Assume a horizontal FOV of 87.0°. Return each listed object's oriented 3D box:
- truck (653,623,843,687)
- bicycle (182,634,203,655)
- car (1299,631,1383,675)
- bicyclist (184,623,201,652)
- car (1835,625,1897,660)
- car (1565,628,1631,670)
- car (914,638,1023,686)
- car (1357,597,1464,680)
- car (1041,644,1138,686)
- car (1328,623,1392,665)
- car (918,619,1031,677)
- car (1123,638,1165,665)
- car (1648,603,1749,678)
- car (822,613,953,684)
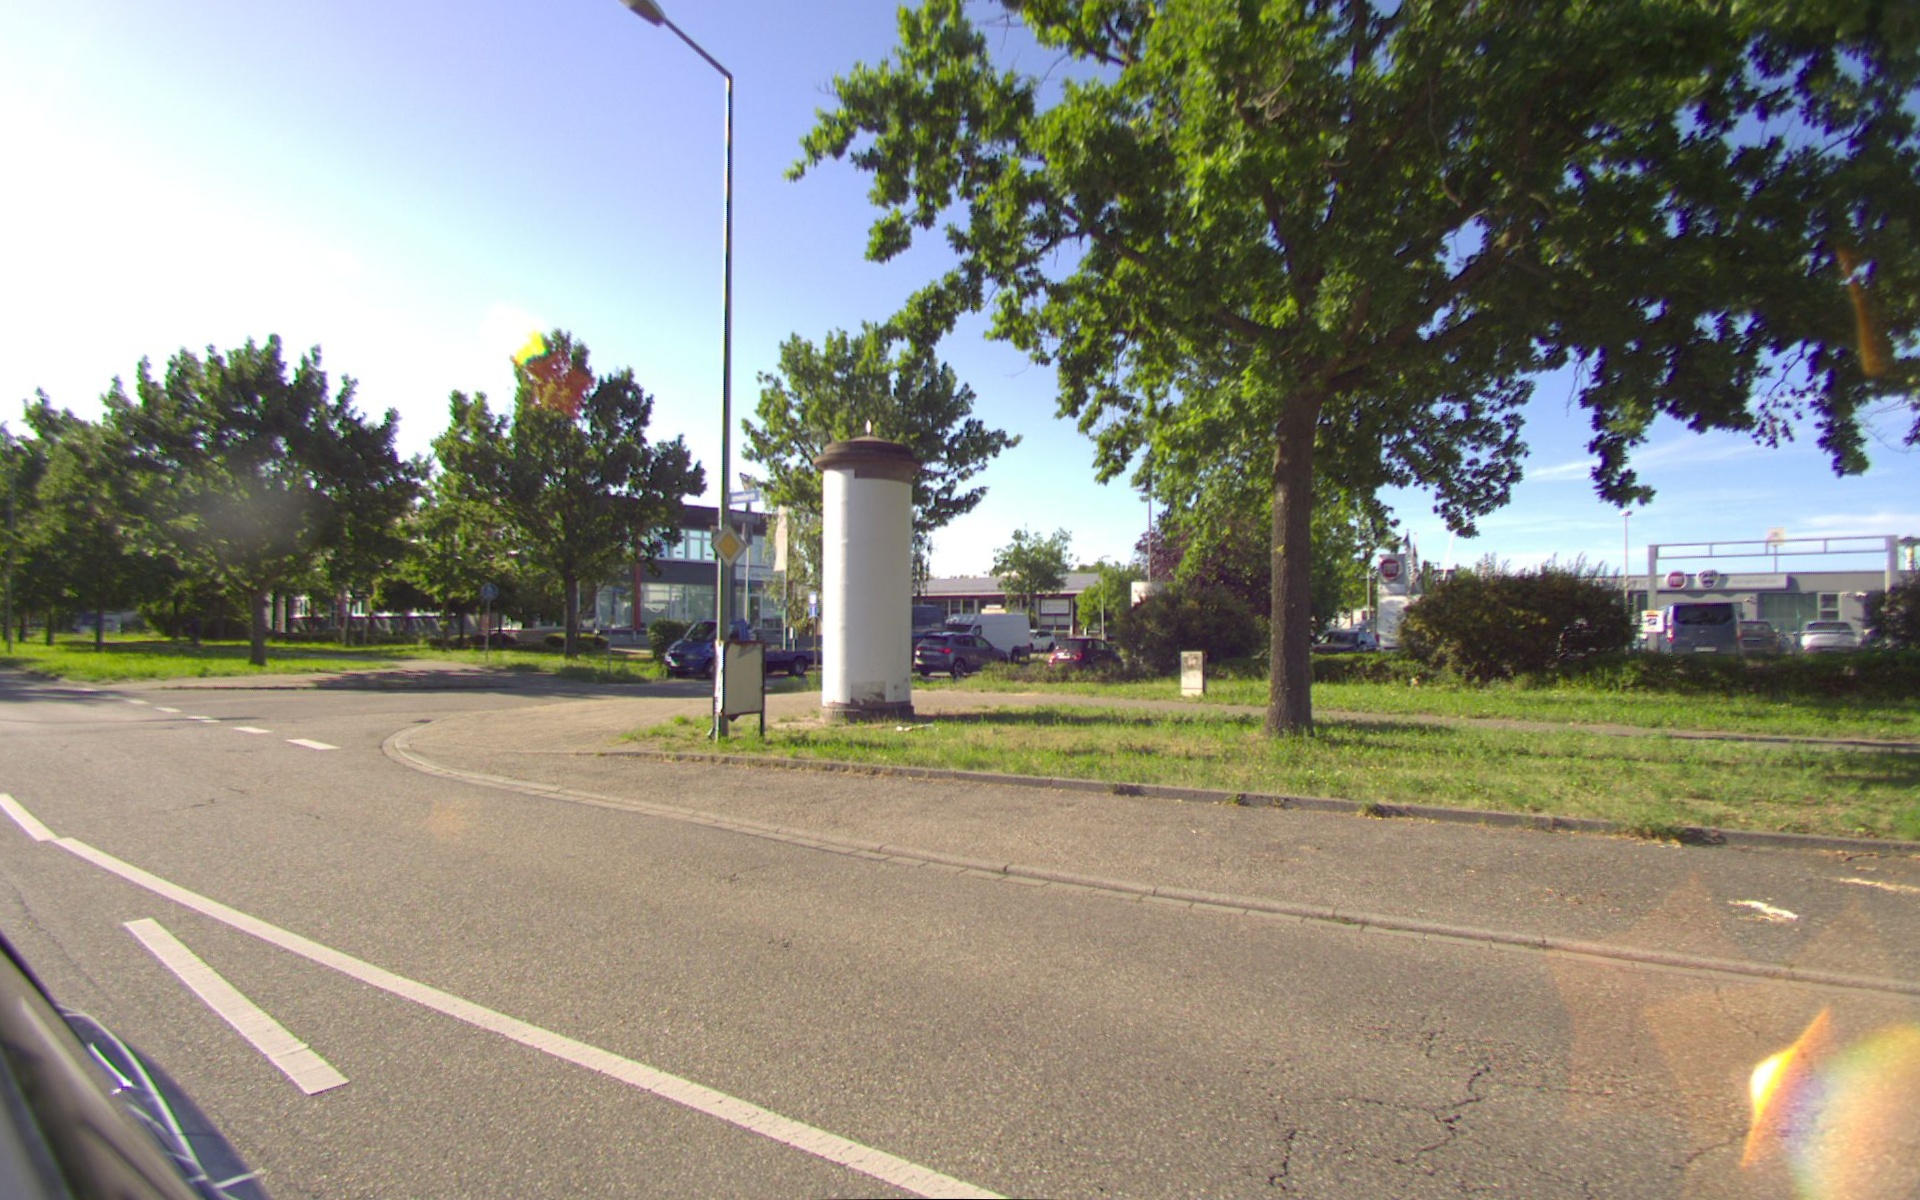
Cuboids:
[{"bbox_3d":[-7.503,1.953,36.819,2.138,2.065,7.043,-1,-2,38],"label":"truck"},{"bbox_3d":[-44.843,2.598,59.128,2.334,1.170,0.545,-1,-1,42],"label":"bicycle"},{"bbox_3d":[14.657,1.975,38.768,1.881,1.563,4.604,-1,-2,36],"label":"car"},{"bbox_3d":[-44.871,2.199,59.169,0.658,1.641,0.657,-1,-1,42],"label":"bicyclist"},{"bbox_3d":[40.939,1.880,45.803,1.589,1.509,3.565,-1,-2,34],"label":"car"},{"bbox_3d":[21.077,1.573,33.386,1.572,1.312,3.490,-2,-2,36],"label":"car"},{"bbox_3d":[0.382,2.246,37.314,1.758,1.607,4.242,0,-2,39],"label":"car"},{"bbox_3d":[16.205,1.268,36.218,2.296,2.723,6.105,-1,-1,36],"label":"car"},{"bbox_3d":[4.890,2.395,37.797,1.821,1.493,4.153,-3,-4,36],"label":"car"},{"bbox_3d":[19.309,2.098,48.713,1.881,1.899,4.201,-1,-2,36],"label":"car"},{"bbox_3d":[0.807,2.201,48.761,2.296,2.535,6.282,-1,-1,36],"label":"car"},{"bbox_3d":[11.397,3.143,62.583,1.506,1.585,3.107,-1,-2,33],"label":"car"},{"bbox_3d":[22.763,1.230,31.274,2.296,2.086,5.361,-1,-2,36],"label":"car"},{"bbox_3d":[-2.943,1.918,42.379,2.296,2.723,5.809,-1,-1,36],"label":"car"}]
